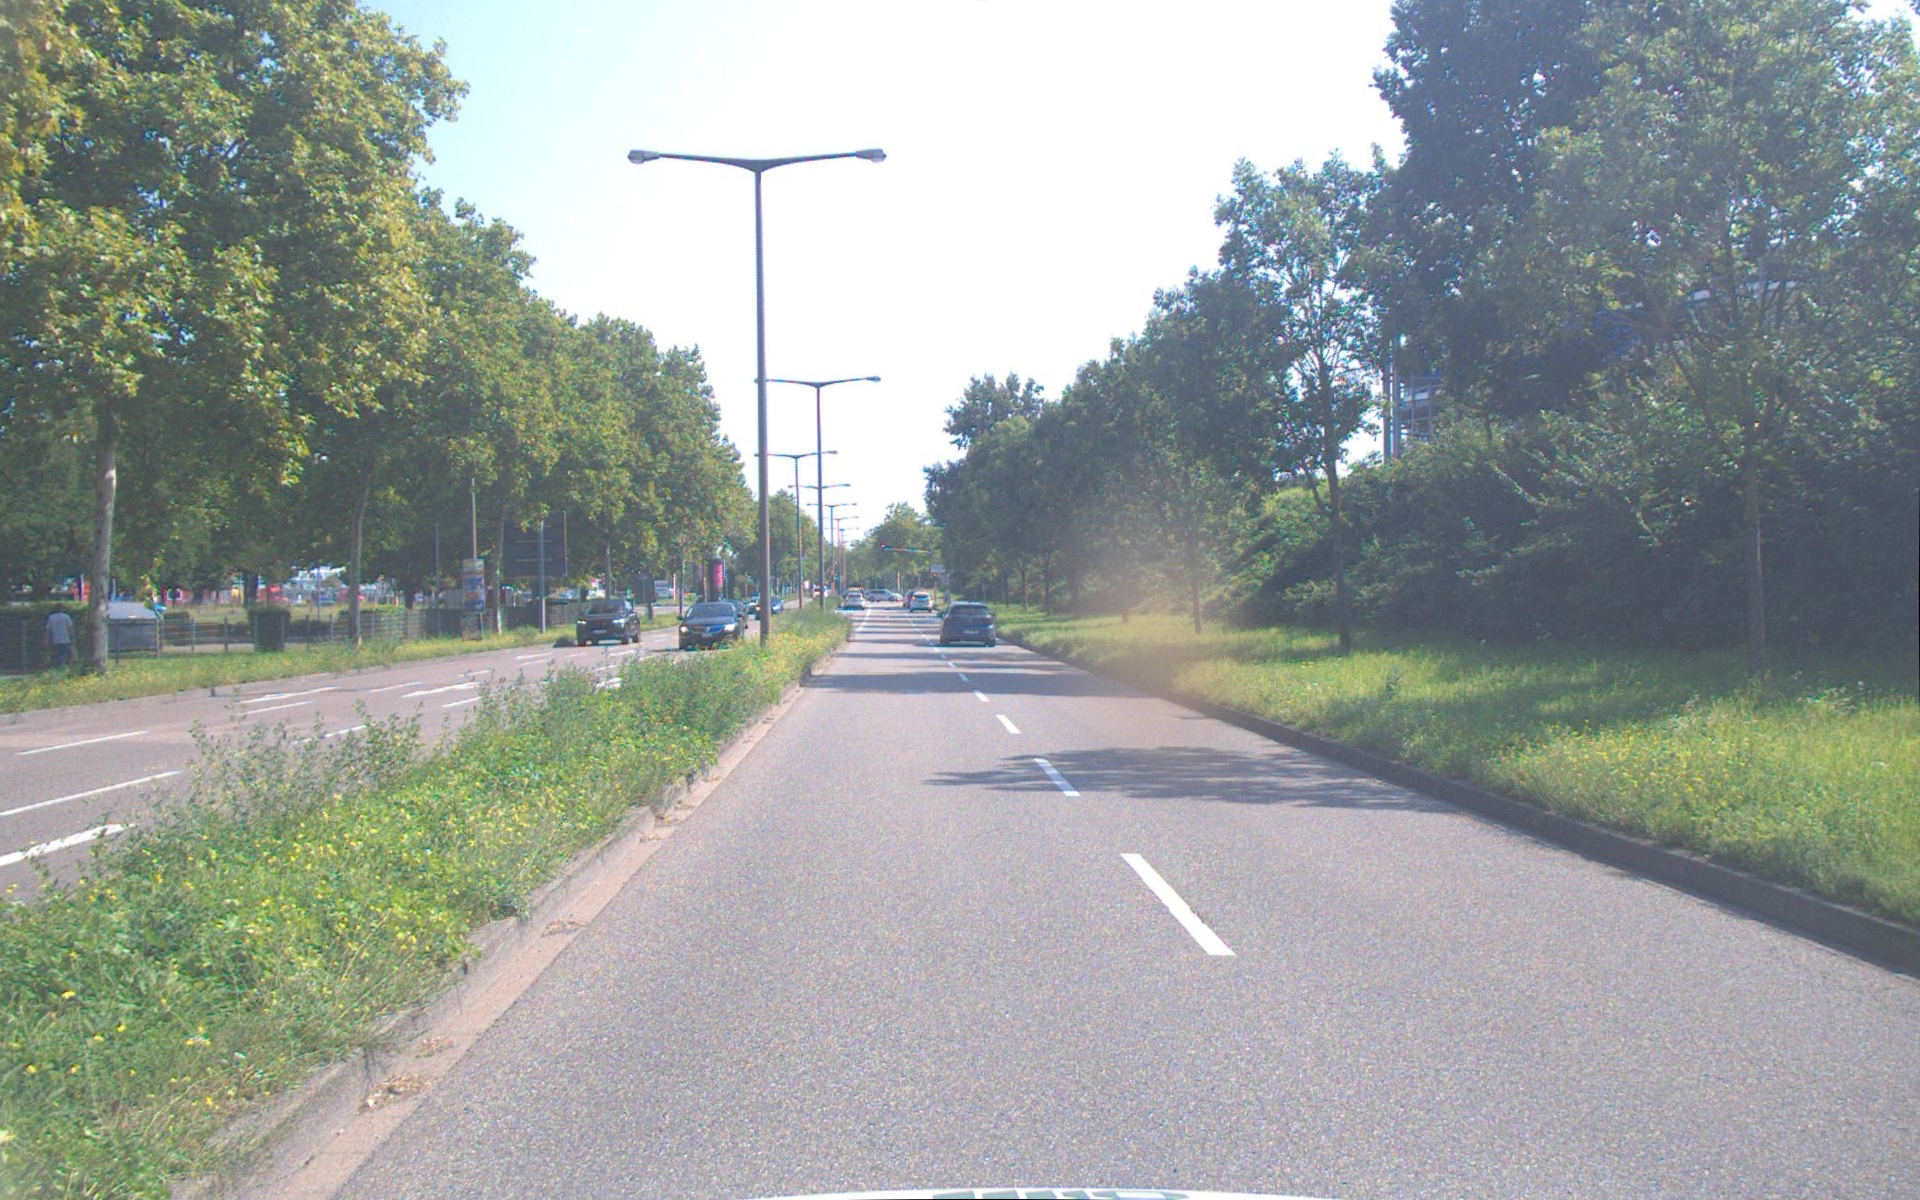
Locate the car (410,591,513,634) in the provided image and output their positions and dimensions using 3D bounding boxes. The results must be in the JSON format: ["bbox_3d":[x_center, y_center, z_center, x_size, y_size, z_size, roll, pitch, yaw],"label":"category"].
[{"bbox_3d":[-29.490,0.757,97.994,5.474,2.377,2.277,1,2,-5],"label":"car"}]

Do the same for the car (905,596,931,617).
[{"bbox_3d":[-3.518,0.557,137.583,1.954,1.683,3.997,-1,0,-3],"label":"car"}]

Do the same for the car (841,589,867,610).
[{"bbox_3d":[-9.165,-0.002,142.959,1.952,1.731,4.000,-1,0,0],"label":"car"}]

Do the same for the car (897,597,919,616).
[{"bbox_3d":[-5.210,0.618,165.203,1.954,1.683,3.997,-1,2,-4],"label":"car"}]

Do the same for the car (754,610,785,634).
[{"bbox_3d":[-12.942,1.483,112.663,1.954,1.613,4.342,-1,0,-5],"label":"car"}]

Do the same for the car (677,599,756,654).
[{"bbox_3d":[-7.308,0.773,50.061,1.808,1.516,4.641,-2,0,-2],"label":"car"}]

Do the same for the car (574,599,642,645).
[{"bbox_3d":[-13.203,0.796,62.272,1.809,1.633,4.607,-1,0,-4],"label":"car"}]

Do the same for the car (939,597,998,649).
[{"bbox_3d":[0.246,0.737,54.762,1.745,1.452,3.999,1,2,-3],"label":"car"}]

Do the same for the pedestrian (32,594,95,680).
[{"bbox_3d":[-22.573,0.911,41.642,1.245,2.048,1.011,3,3,40],"label":"pedestrian"}]
